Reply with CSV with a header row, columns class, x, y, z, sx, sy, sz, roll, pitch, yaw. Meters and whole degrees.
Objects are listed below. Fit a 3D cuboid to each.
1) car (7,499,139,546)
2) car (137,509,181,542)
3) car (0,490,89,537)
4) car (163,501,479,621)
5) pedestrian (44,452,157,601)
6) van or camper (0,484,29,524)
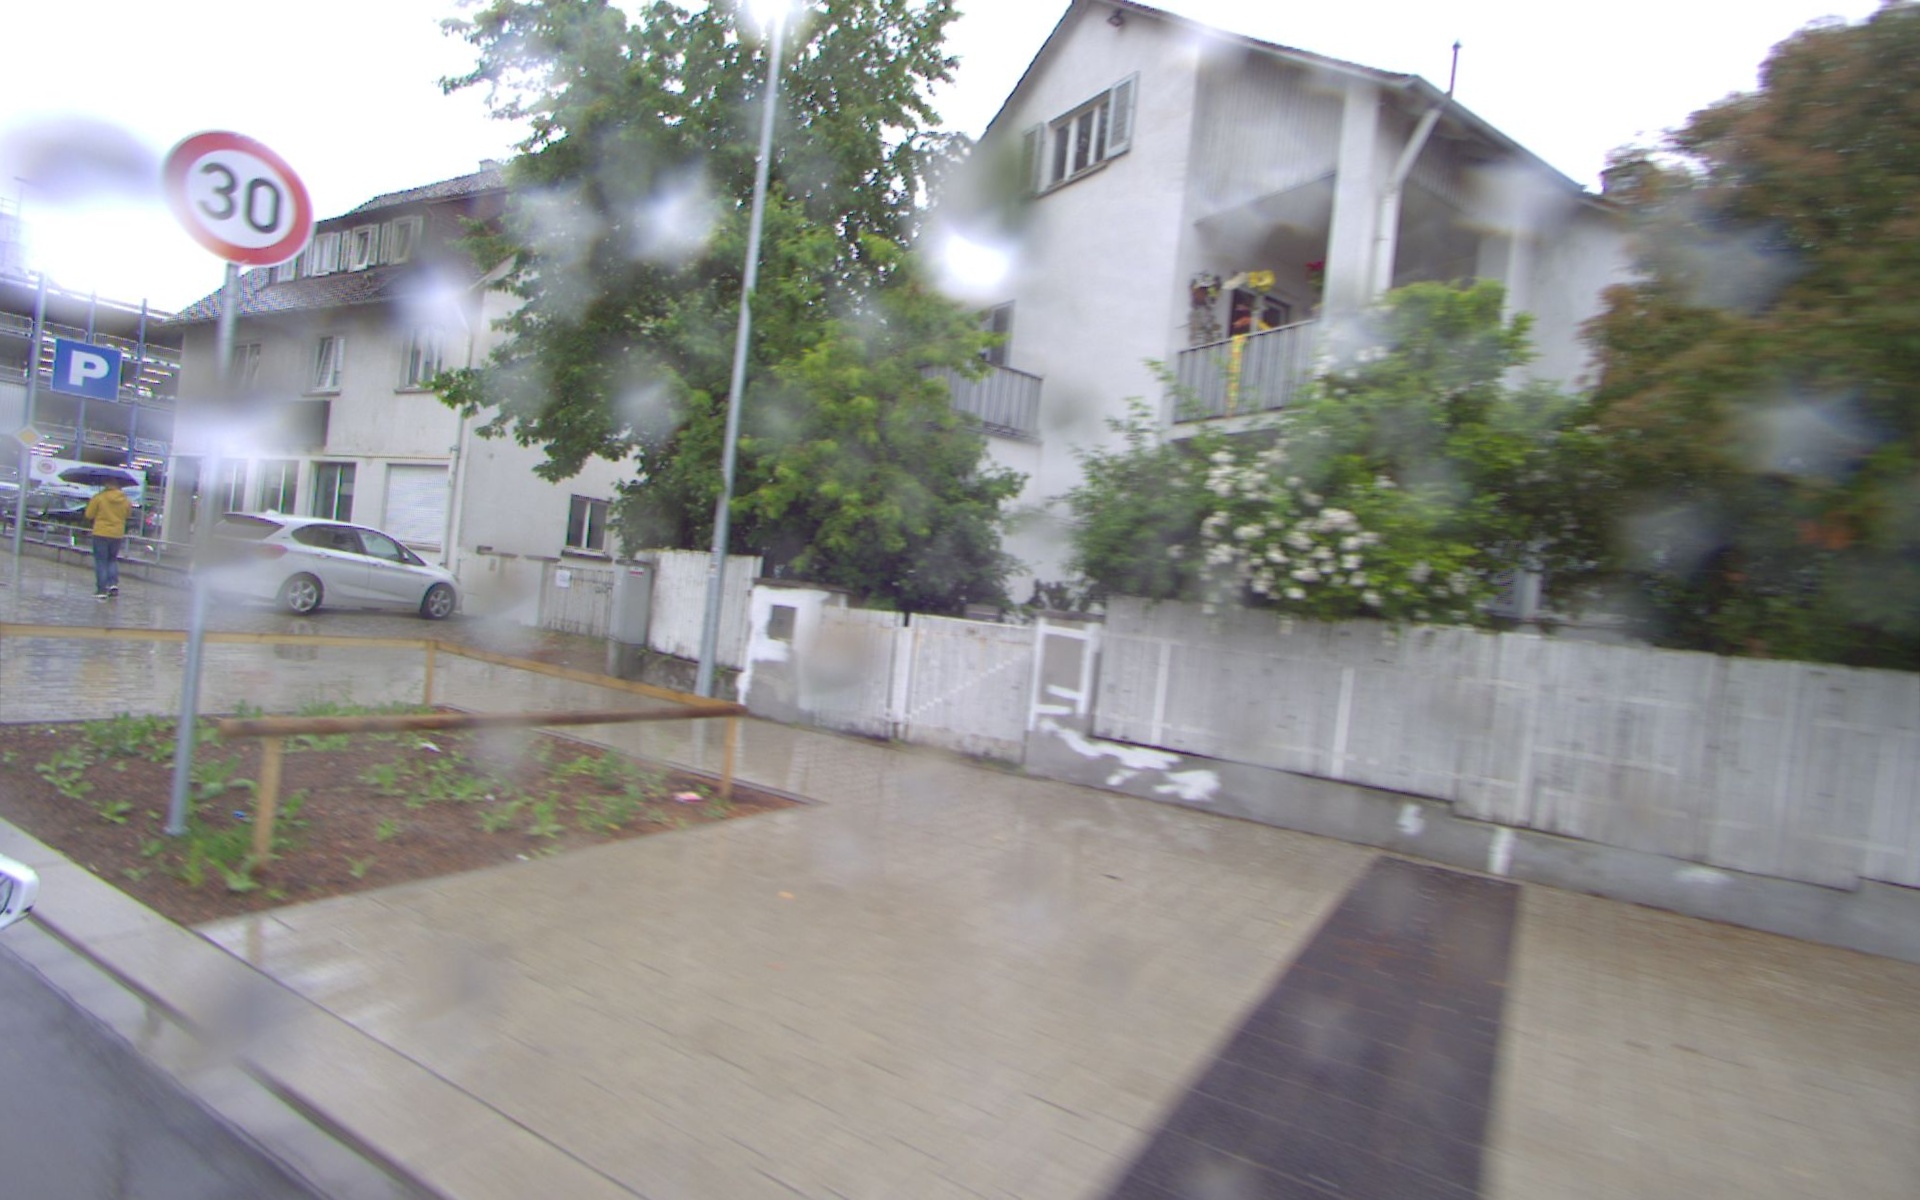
class,x,y,z,sx,sy,sz,roll,pitch,yaw
car,-36.864,-3.197,41.892,1.664,1.331,3.732,6,-1,30
car,-49.906,-4.657,62.653,1.725,1.700,3.949,6,1,-44
car,-42.841,-4.036,45.817,1.814,1.671,4.361,6,-1,31
car,-10.660,-0.573,17.173,1.963,1.601,4.140,7,1,19
pedestrian,-12.612,-1.068,14.762,1.175,2.040,0.859,7,2,32
van or camper,-55.020,-5.574,57.893,4.404,2.061,1.833,6,-1,45
